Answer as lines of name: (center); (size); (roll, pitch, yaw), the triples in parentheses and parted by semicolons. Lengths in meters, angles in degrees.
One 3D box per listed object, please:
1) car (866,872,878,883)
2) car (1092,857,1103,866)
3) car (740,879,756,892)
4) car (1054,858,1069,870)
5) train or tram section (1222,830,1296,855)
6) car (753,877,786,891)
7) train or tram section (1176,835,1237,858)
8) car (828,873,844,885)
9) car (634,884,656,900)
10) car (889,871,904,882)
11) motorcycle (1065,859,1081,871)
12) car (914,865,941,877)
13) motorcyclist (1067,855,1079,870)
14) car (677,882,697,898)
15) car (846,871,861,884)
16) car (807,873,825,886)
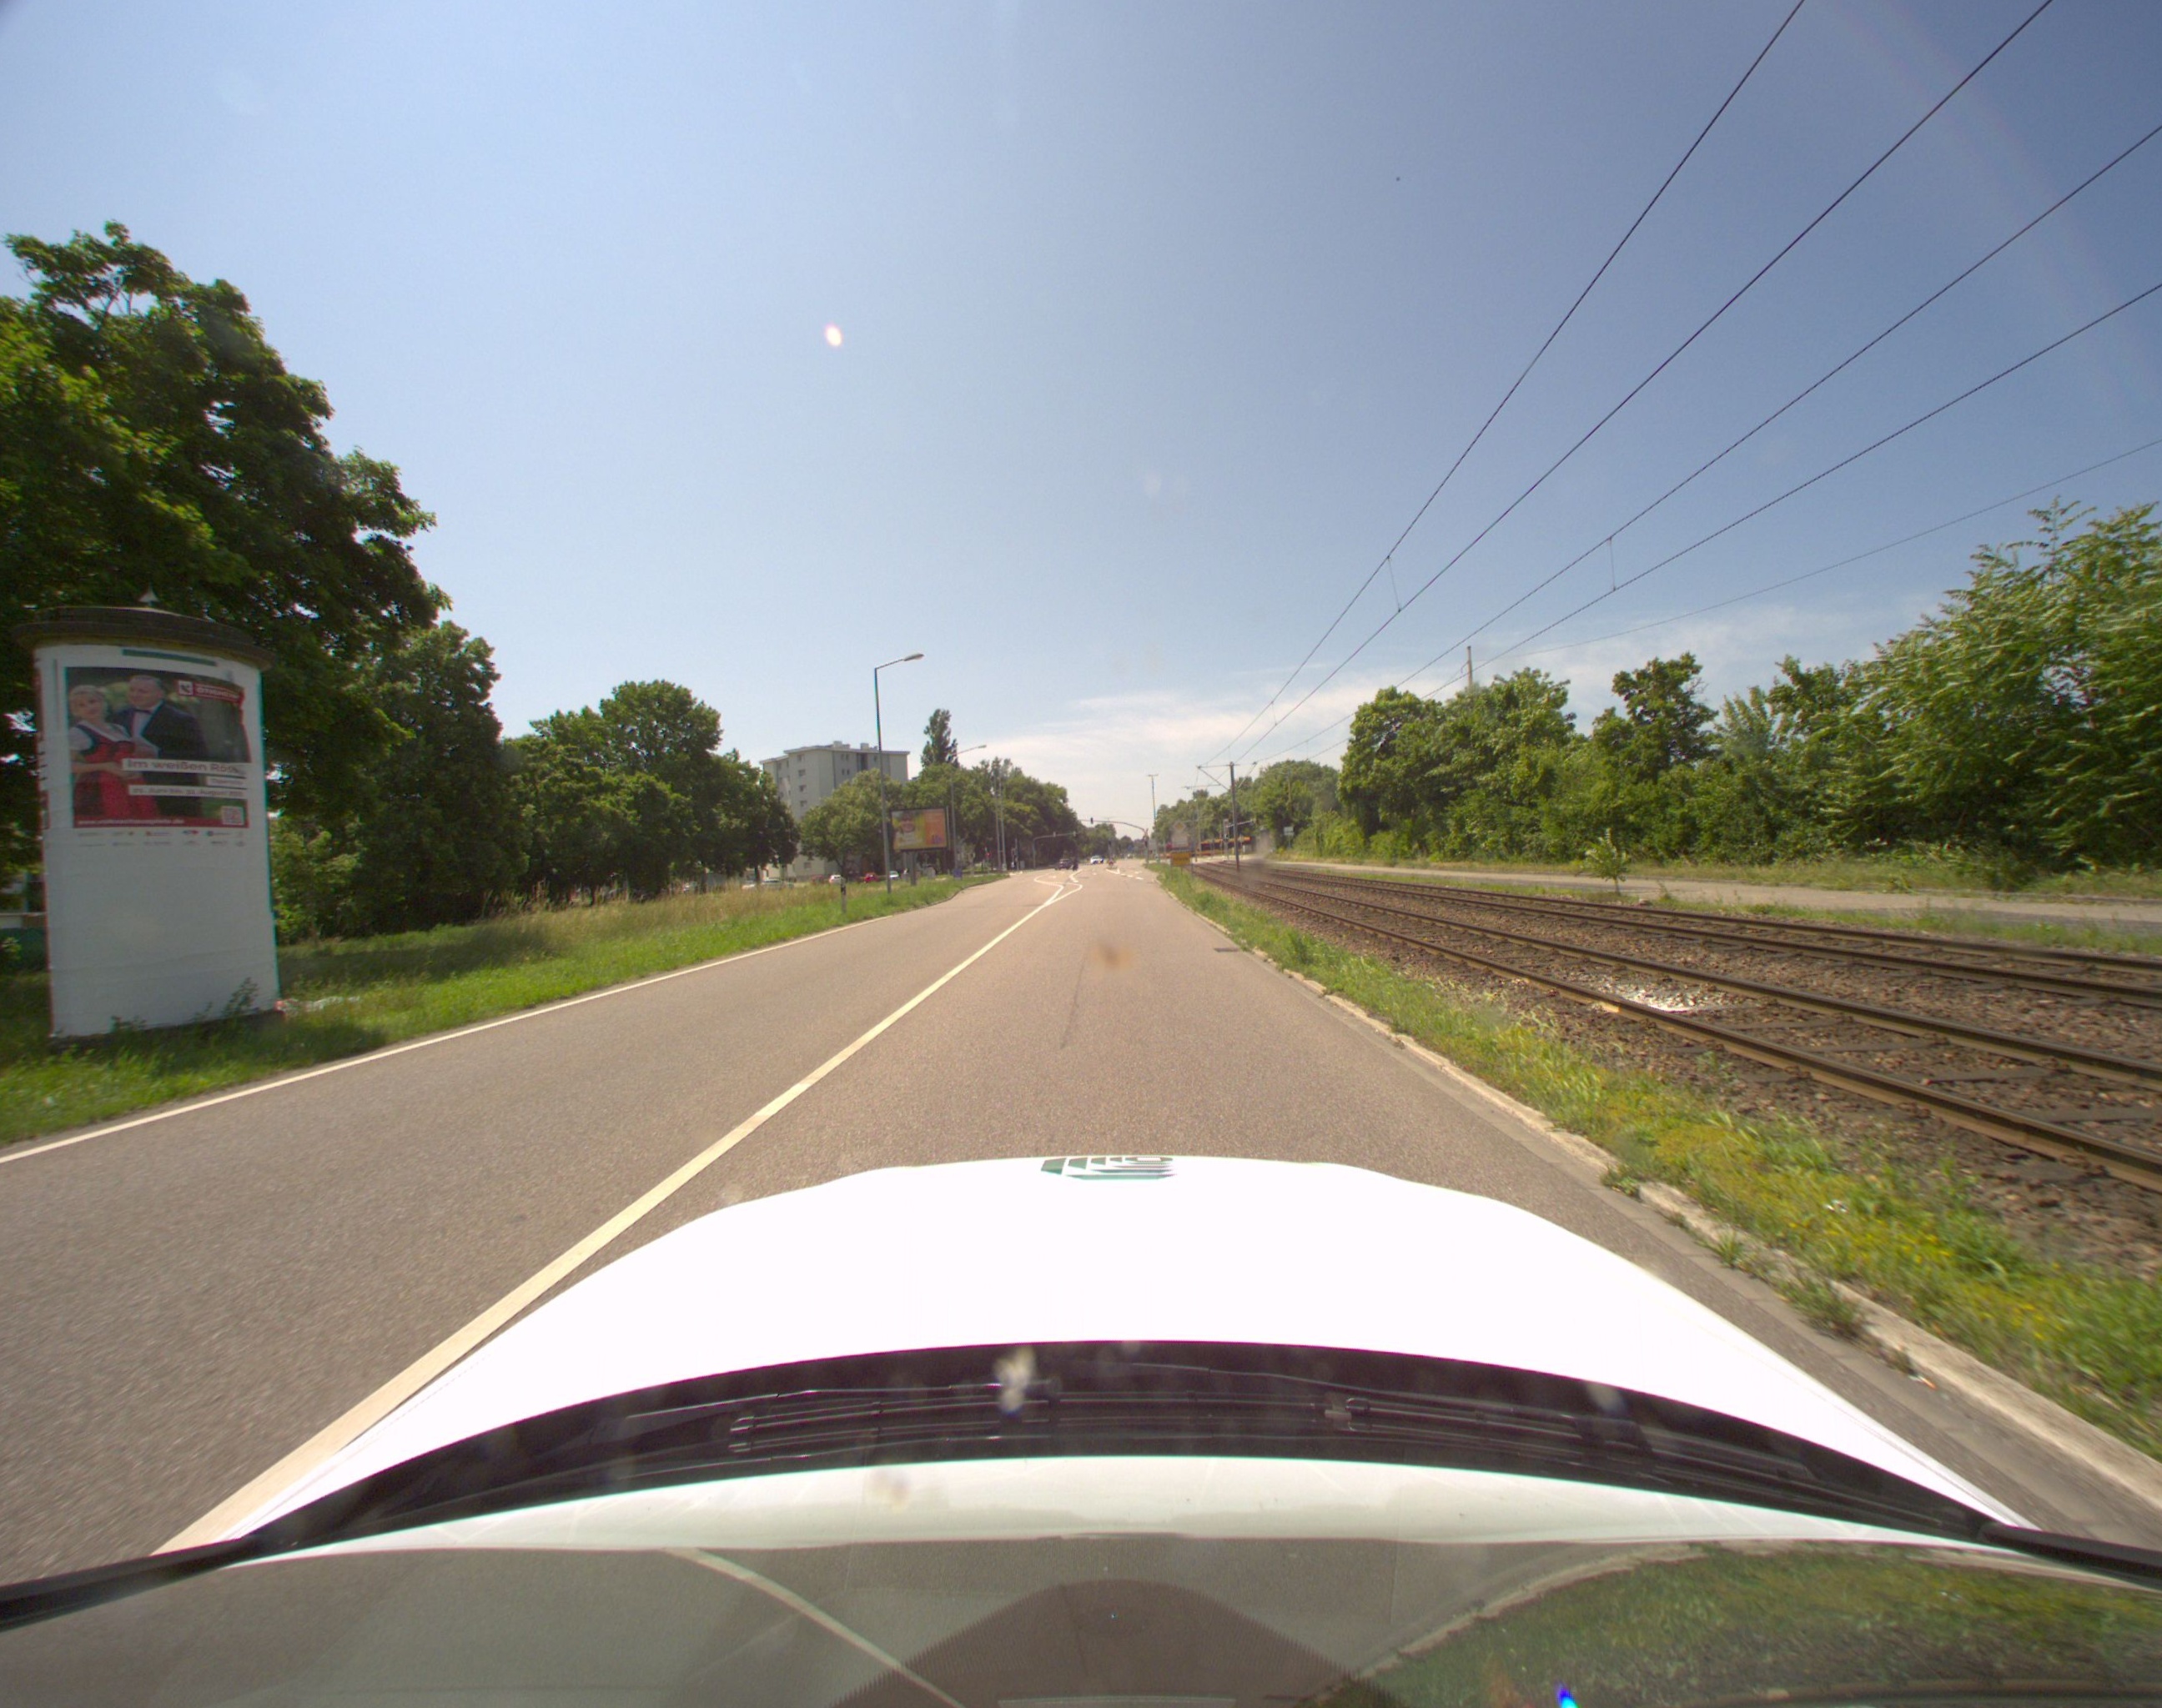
car: (-30.092, 3.310, 117.252); (1.620, 1.464, 3.982); (-3, 0, -13)
car: (3.061, 1.356, 150.498); (1.777, 1.628, 3.868); (-4, 0, 3)
car: (-45.816, 4.355, 112.085); (1.693, 1.562, 3.813); (-4, 0, -19)
car: (-2.521, 1.291, 107.601); (1.901, 1.499, 4.628); (-3, 0, -1)
train or tram section: (35.407, -2.248, 162.171); (13.868, 3.919, 2.940); (-4, -4, 25)
car: (-39.529, 3.824, 103.330); (3.901, 1.468, 1.762); (-3, 0, -22)
train or tram section: (25.822, -1.452, 168.665); (2.940, 3.812, 13.289); (1, -4, -44)
car: (-34.881, 3.536, 115.950); (1.712, 1.592, 3.968); (-2, 0, -24)
car: (-57.816, 5.000, 108.024); (1.852, 1.948, 3.973); (-2, 0, -20)
car: (-26.948, 3.285, 118.956); (1.629, 1.380, 3.974); (-2, 0, -19)
motorcycle: (-0.899, 1.251, 94.264); (0.839, 1.255, 2.463); (-3, 0, 25)
car: (-27.122, 2.958, 143.945); (1.769, 1.768, 4.577); (-4, -1, 43)
motorcyclist: (-0.924, 0.959, 94.194); (0.782, 1.643, 1.218); (-3, -1, 27)
car: (-52.489, 4.727, 108.621); (1.852, 1.948, 3.973); (-2, 0, -20)
car: (-32.624, 3.342, 116.621); (1.710, 1.801, 3.973); (-2, 0, -20)
car: (-37.530, 3.605, 115.229); (1.857, 1.668, 3.964); (-2, 0, -27)
